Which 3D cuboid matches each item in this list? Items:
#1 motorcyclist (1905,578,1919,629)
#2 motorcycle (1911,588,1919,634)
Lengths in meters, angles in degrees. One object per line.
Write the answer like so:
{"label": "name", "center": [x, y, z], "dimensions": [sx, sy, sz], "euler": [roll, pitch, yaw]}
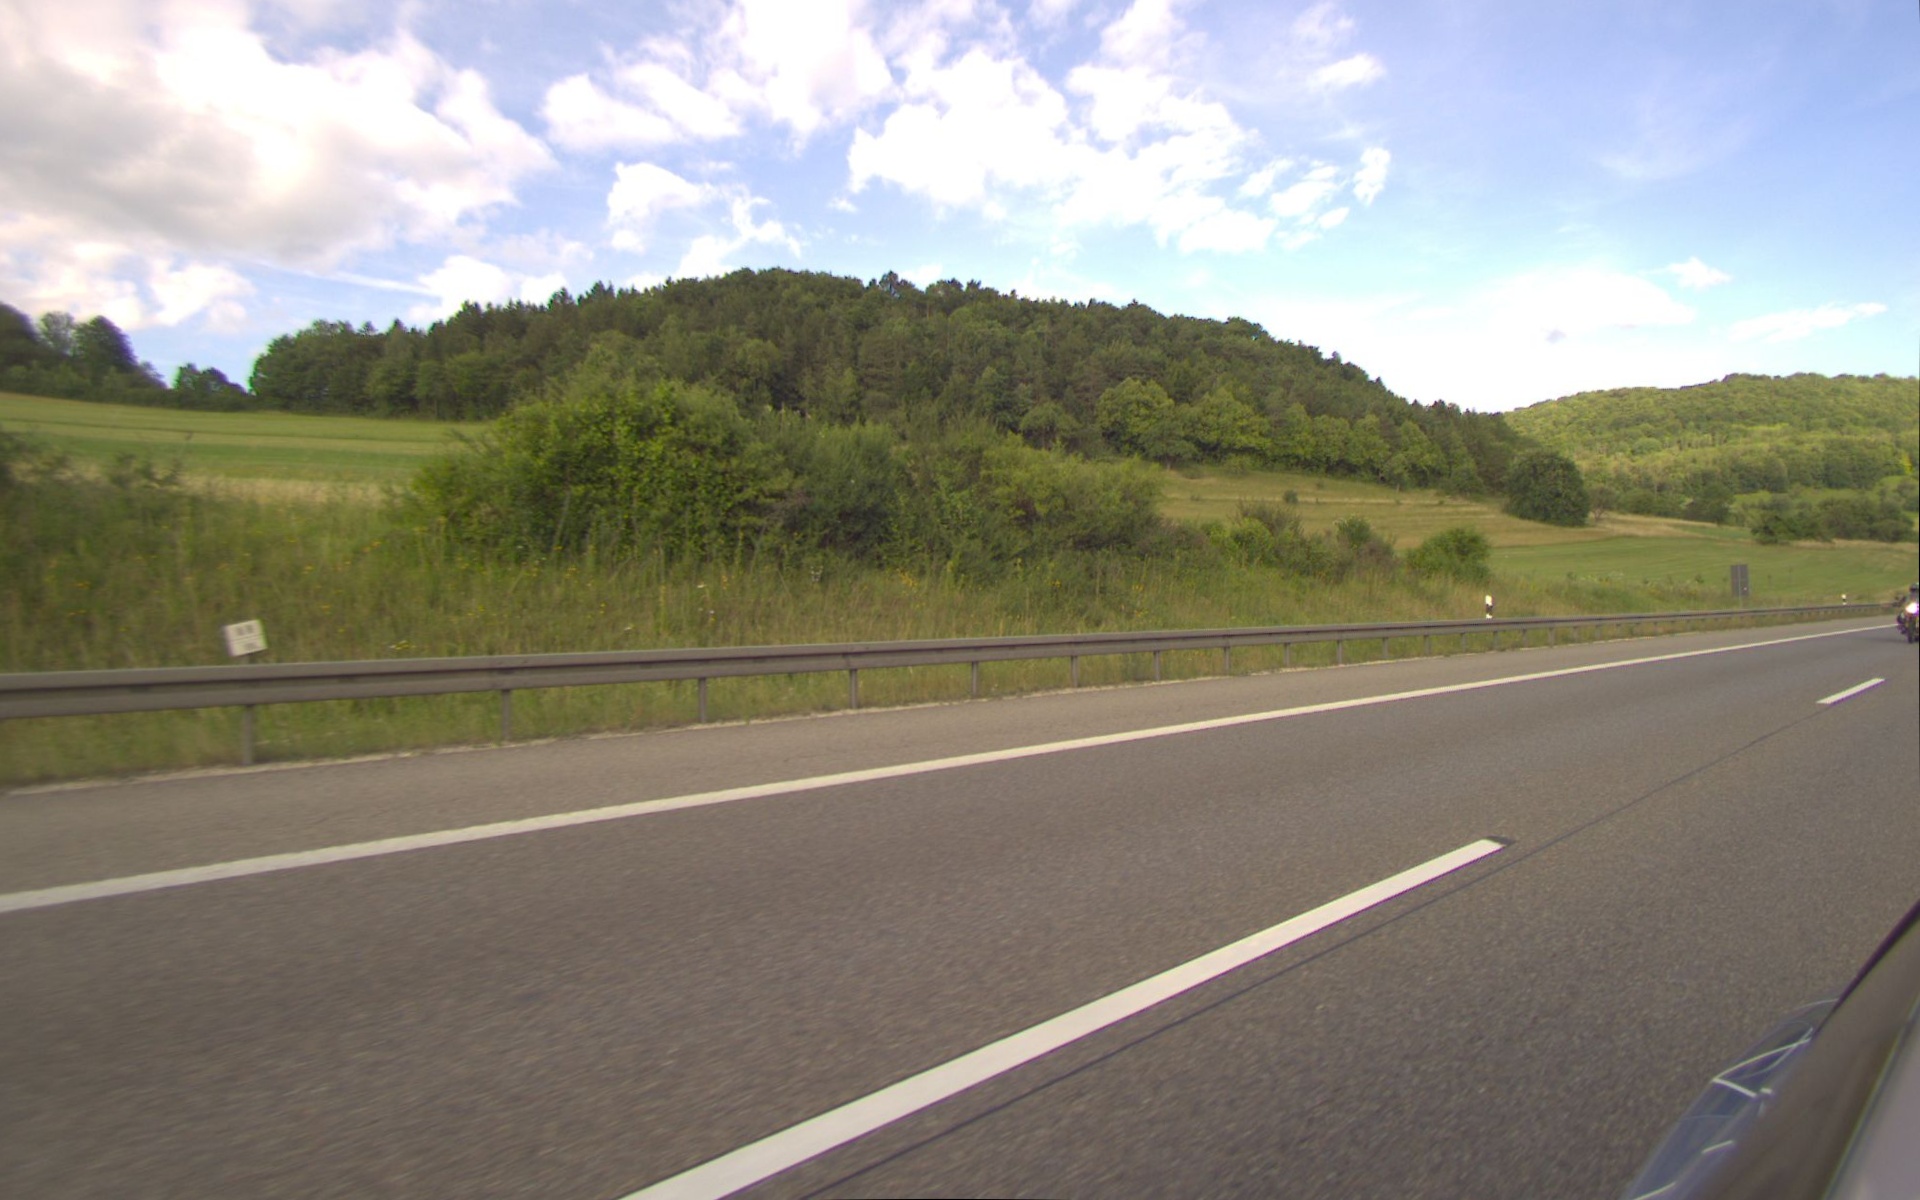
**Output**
{"label": "motorcyclist", "center": [29.333, 0.111, 30.667], "dimensions": [0.783, 1.534, 0.879], "euler": [-1, 1, -37]}
{"label": "motorcycle", "center": [29.671, 0.321, 30.830], "dimensions": [1.705, 1.355, 0.629], "euler": [-1, 1, -32]}
